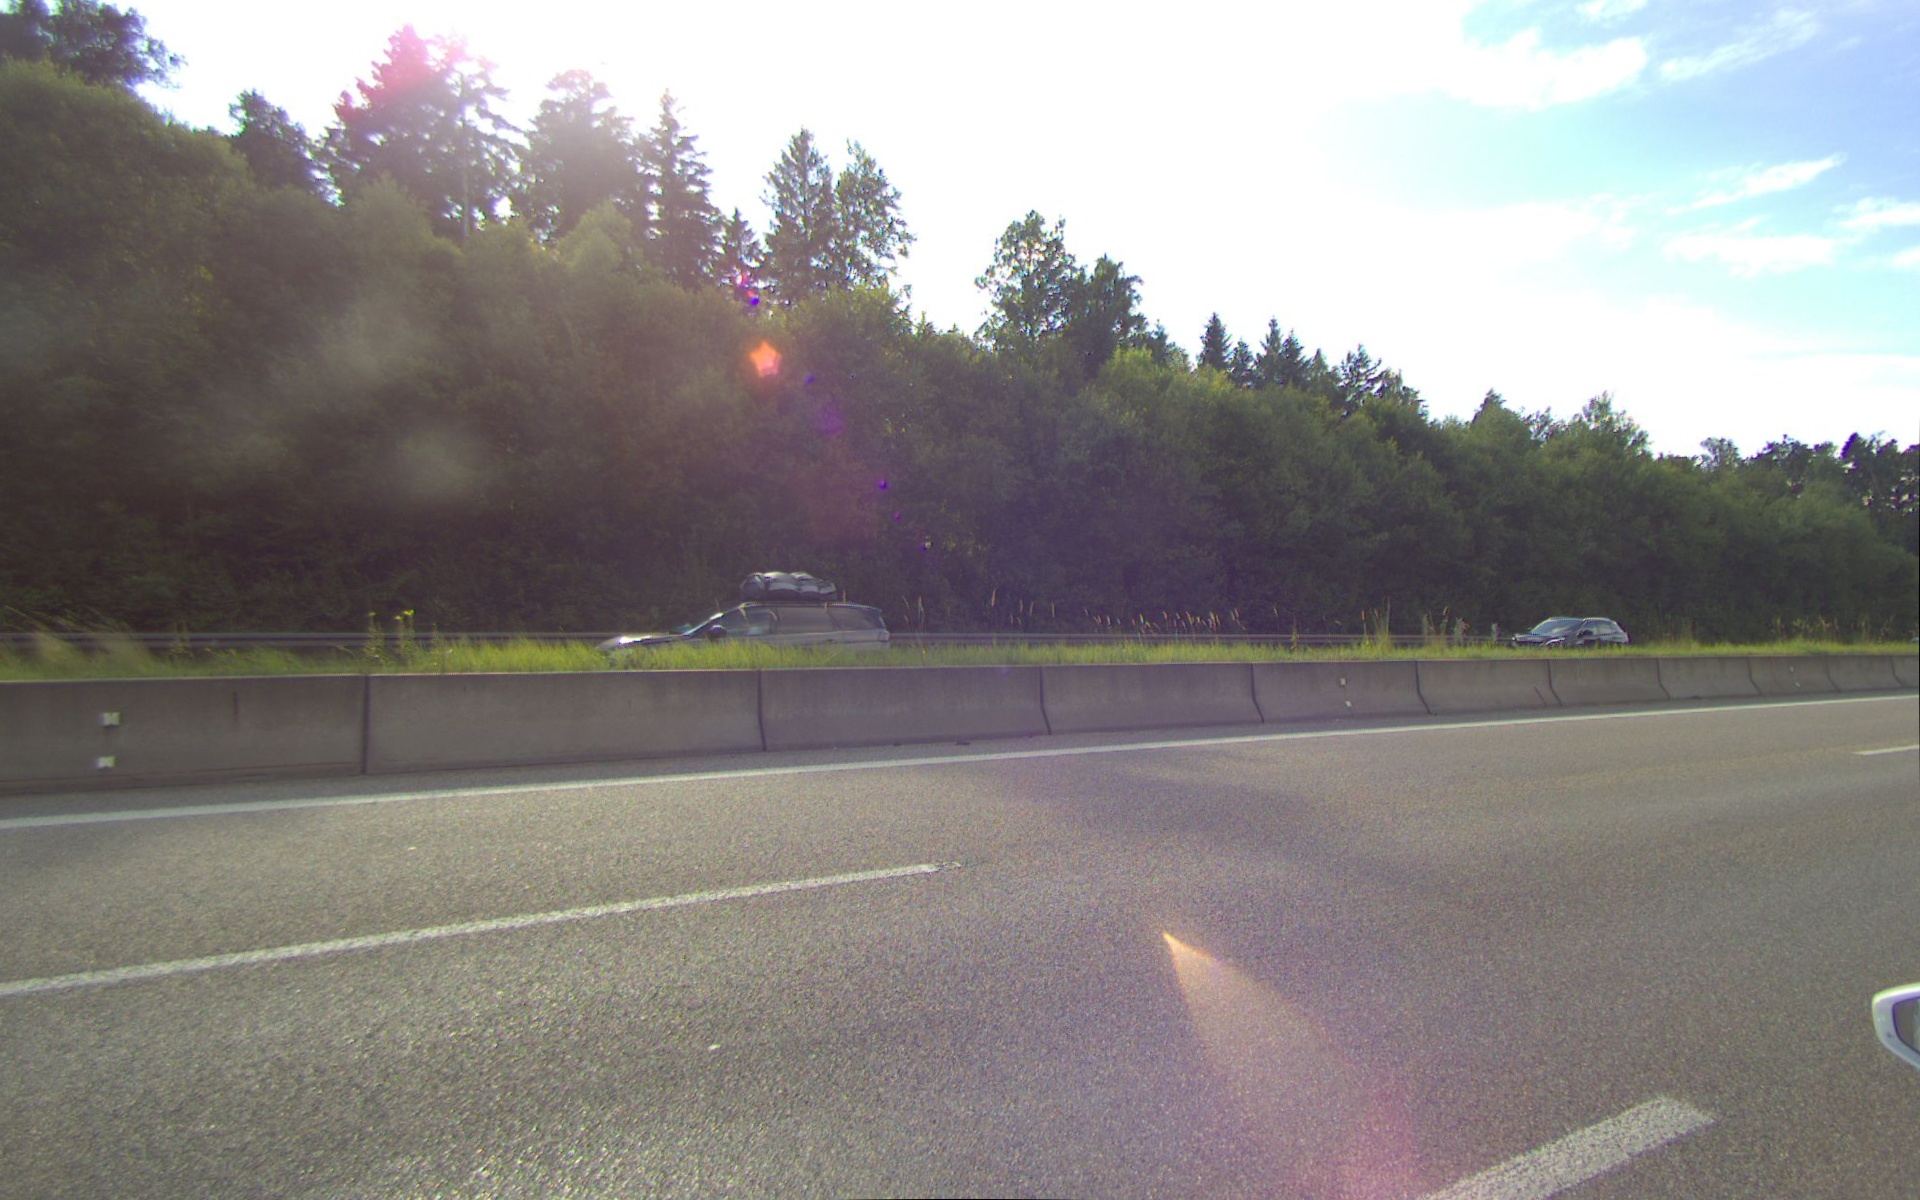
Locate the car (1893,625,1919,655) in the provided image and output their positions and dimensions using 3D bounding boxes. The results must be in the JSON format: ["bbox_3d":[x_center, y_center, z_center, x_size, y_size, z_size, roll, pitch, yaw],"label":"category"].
[{"bbox_3d":[54.714,2.253,56.618,4.516,1.649,1.871,1,0,-30],"label":"car"}]

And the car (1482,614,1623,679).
[{"bbox_3d":[18.859,1.437,31.930,4.385,1.906,1.984,1,0,-30],"label":"car"}]

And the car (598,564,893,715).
[{"bbox_3d":[-3.281,0.572,15.459,4.024,2.040,1.984,1,0,-30],"label":"car"}]
